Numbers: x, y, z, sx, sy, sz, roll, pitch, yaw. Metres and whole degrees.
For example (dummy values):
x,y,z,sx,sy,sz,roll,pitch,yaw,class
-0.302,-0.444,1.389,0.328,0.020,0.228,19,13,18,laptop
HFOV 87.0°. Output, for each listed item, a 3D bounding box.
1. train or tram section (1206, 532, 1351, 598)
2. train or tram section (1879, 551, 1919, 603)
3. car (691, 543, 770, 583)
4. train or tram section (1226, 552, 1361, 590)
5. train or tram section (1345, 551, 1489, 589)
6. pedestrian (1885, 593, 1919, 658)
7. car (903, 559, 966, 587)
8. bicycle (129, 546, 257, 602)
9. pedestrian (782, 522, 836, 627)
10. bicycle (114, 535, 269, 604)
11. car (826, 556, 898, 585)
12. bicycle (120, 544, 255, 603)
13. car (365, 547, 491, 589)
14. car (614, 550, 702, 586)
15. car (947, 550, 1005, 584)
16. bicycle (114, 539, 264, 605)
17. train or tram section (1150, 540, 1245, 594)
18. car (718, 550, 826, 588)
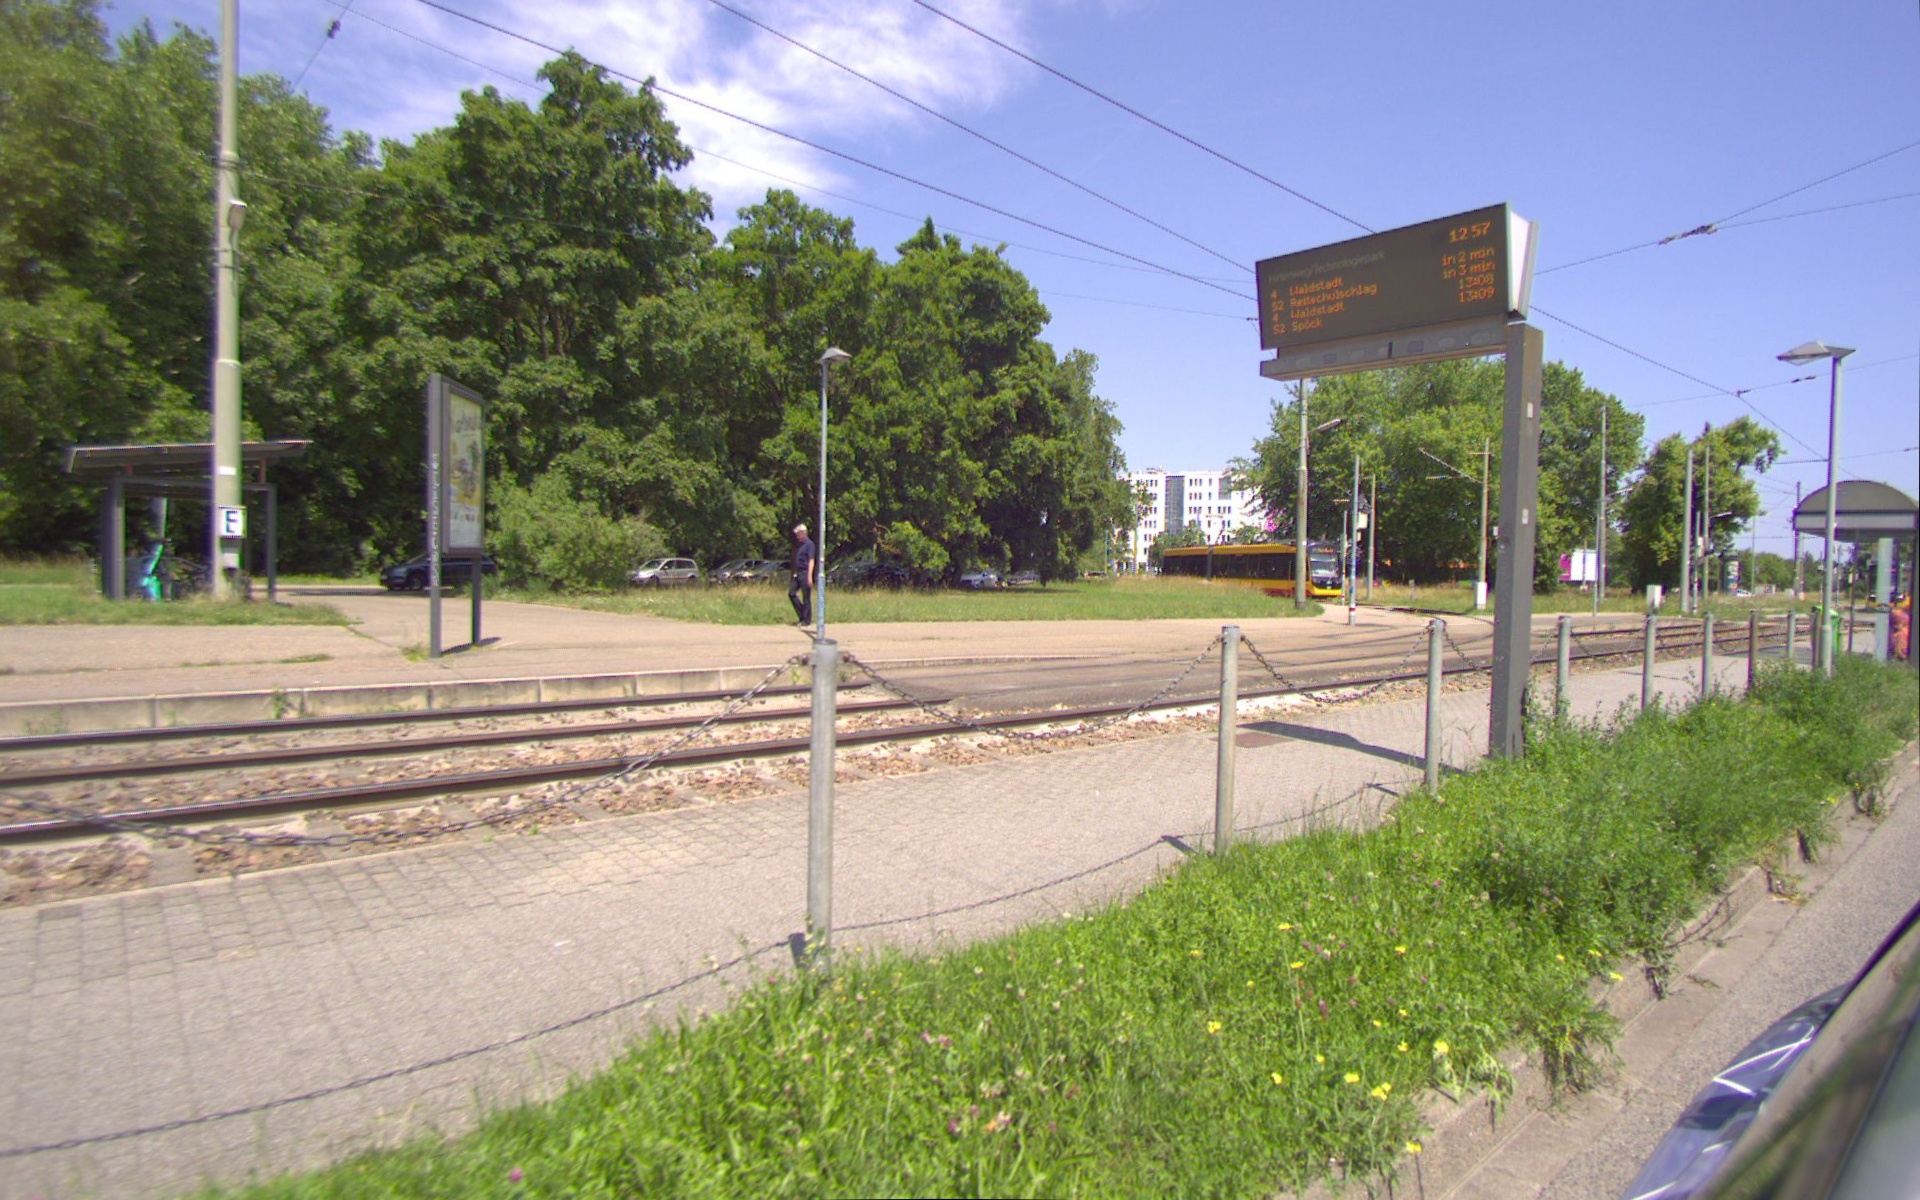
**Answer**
x,y,z,sx,sy,sz,roll,pitch,yaw,class
19.372,-2.105,63.059,2.659,3.694,13.211,-1,1,-11,train or tram section
65.328,-1.602,69.314,7.132,3.363,2.524,-1,3,-40,train or tram section
-12.329,-1.957,54.496,1.984,2.038,3.957,2,2,31,car
33.790,-2.983,102.775,12.984,3.694,2.719,-1,1,-6,train or tram section
46.129,-2.980,102.510,13.032,3.694,2.709,0,1,9,train or tram section
15.965,0.423,16.976,0.569,1.052,0.576,0,2,-40,pedestrian
-1.442,-1.579,58.559,1.689,1.558,4.572,2,3,27,car
-16.540,-0.552,21.857,2.152,1.101,0.598,2,1,-40,bicycle
-2.659,-0.456,17.769,0.646,1.786,0.708,0,2,-39,pedestrian
-13.758,-0.531,18.162,2.152,1.101,0.598,2,1,-40,bicycle
-5.079,-1.562,53.025,1.940,1.440,3.909,3,3,27,car
-15.902,-0.534,20.864,2.152,1.101,0.598,2,1,-40,bicycle
-20.518,-1.243,39.189,1.872,1.529,3.958,3,2,30,car
-14.750,-1.571,49.572,1.839,1.682,3.957,2,2,31,car
1.035,-2.048,63.215,1.940,2.038,4.275,2,2,27,car
-14.330,-0.503,18.857,2.152,1.101,0.598,2,1,-40,bicycle
17.497,-2.399,75.776,2.661,3.694,13.269,-1,1,-6,train or tram section
-8.632,-1.410,46.931,2.109,1.631,5.000,3,2,31,car
